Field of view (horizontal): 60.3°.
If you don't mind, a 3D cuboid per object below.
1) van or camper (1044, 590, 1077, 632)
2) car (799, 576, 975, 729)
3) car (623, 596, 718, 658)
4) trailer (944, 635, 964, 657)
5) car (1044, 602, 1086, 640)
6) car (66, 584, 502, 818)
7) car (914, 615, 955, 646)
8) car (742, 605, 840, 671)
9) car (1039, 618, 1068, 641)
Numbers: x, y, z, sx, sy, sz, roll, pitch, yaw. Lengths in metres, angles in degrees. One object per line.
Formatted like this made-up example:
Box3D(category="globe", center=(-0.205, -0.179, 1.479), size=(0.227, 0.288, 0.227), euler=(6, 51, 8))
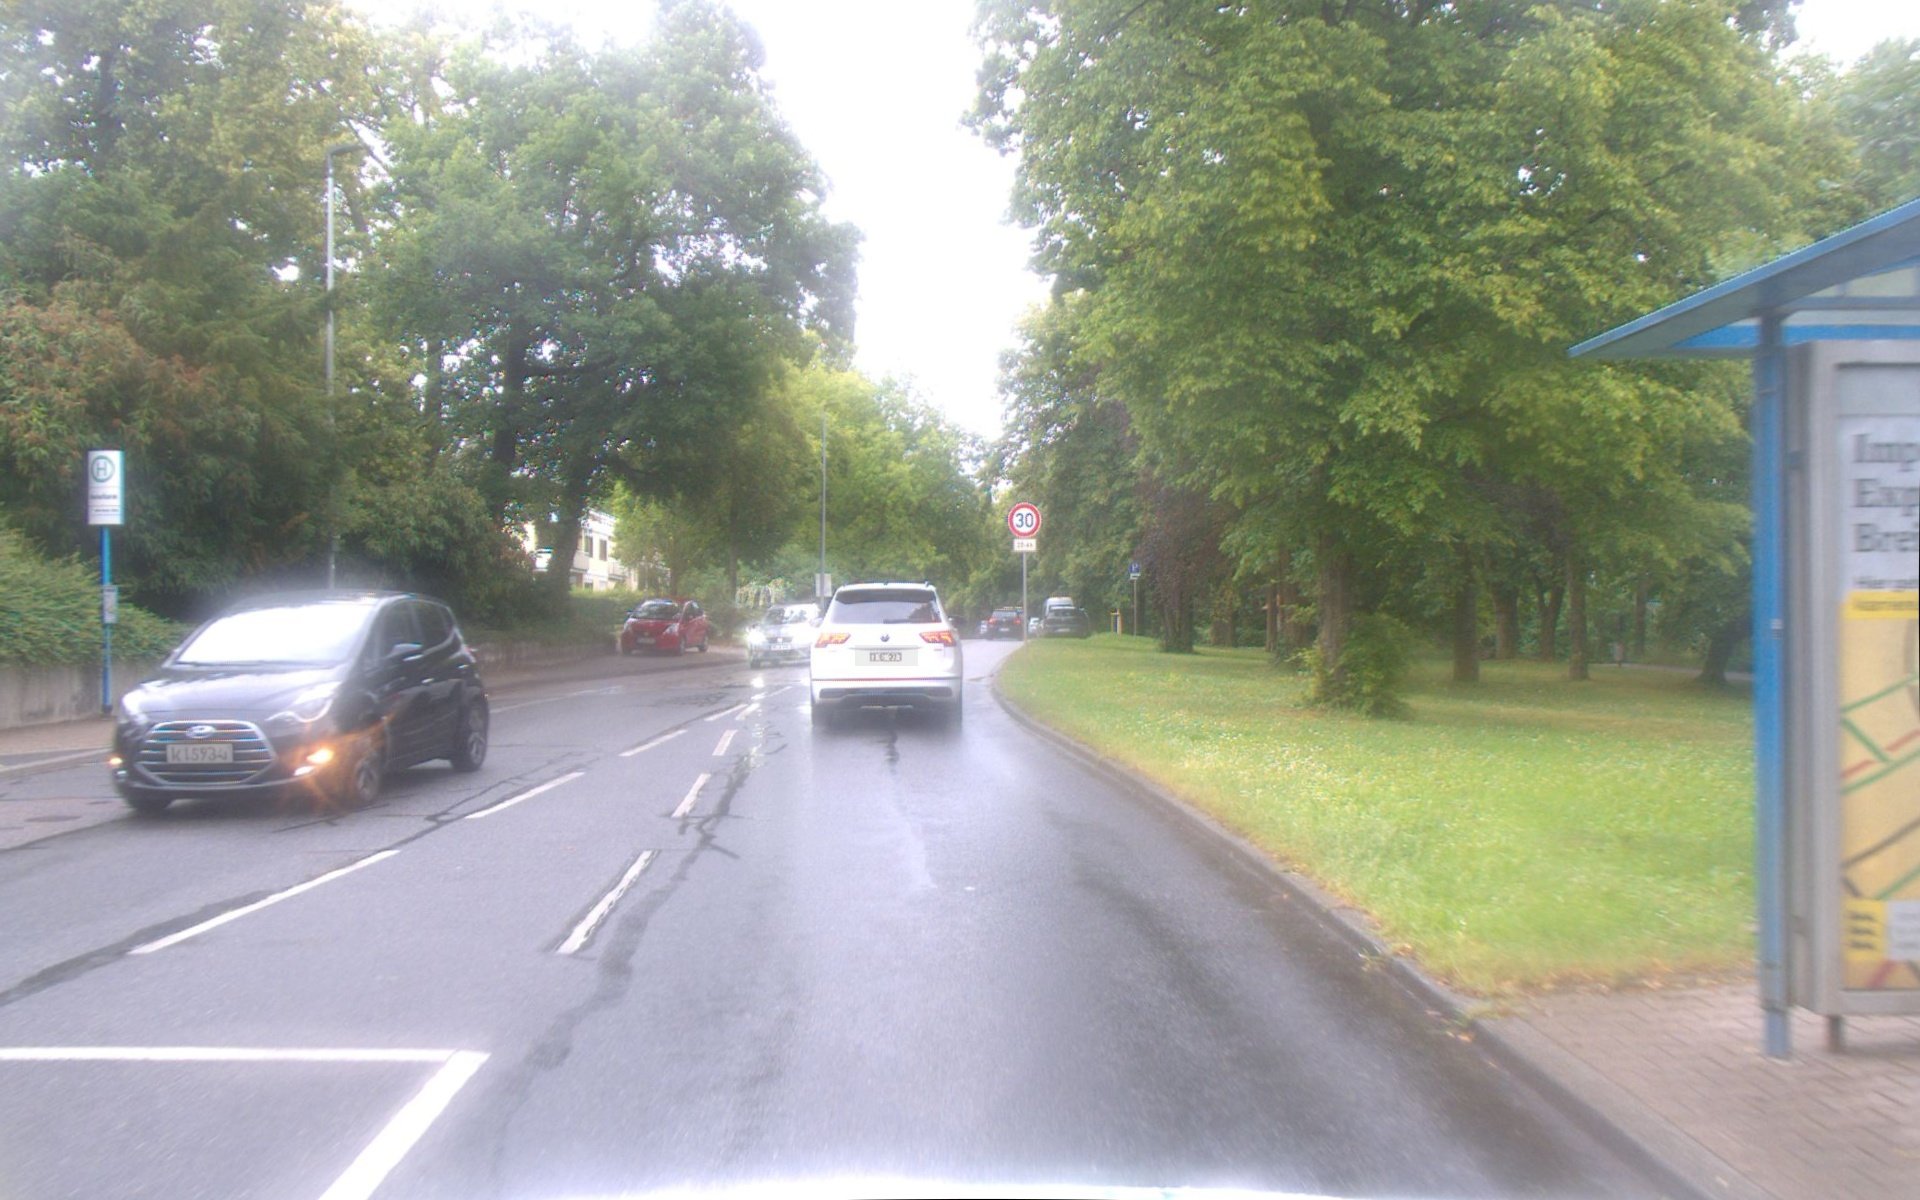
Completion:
Box3D(category="van or camper", center=(6.600, 0.724, 108.989), size=(1.974, 2.628, 8.438), euler=(1, -1, 3))
Box3D(category="car", center=(-0.806, 0.596, 20.654), size=(1.865, 1.715, 4.201), euler=(0, 0, 2))
Box3D(category="car", center=(-8.107, 0.730, 46.642), size=(1.954, 1.542, 3.999), euler=(4, 0, -2))
Box3D(category="trailer", center=(-0.660, 4.874, 176.091), size=(1.501, 2.112, 3.991), euler=(-1, -4, -8))
Box3D(category="car", center=(4.474, 0.904, 69.781), size=(1.665, 1.487, 4.219), euler=(-2, -1, 4))
Box3D(category="car", center=(-5.185, 0.685, 13.340), size=(1.953, 1.604, 3.999), euler=(0, 0, -2))
Box3D(category="car", center=(-1.213, 1.462, 80.609), size=(1.665, 1.435, 4.010), euler=(-2, -1, 3))
Box3D(category="car", center=(-4.058, 0.884, 40.366), size=(1.753, 1.447, 4.360), euler=(-2, 0, 2))
Box3D(category="car", center=(6.515, 2.061, 115.491), size=(1.768, 1.566, 4.267), euler=(-2, -1, 1))
